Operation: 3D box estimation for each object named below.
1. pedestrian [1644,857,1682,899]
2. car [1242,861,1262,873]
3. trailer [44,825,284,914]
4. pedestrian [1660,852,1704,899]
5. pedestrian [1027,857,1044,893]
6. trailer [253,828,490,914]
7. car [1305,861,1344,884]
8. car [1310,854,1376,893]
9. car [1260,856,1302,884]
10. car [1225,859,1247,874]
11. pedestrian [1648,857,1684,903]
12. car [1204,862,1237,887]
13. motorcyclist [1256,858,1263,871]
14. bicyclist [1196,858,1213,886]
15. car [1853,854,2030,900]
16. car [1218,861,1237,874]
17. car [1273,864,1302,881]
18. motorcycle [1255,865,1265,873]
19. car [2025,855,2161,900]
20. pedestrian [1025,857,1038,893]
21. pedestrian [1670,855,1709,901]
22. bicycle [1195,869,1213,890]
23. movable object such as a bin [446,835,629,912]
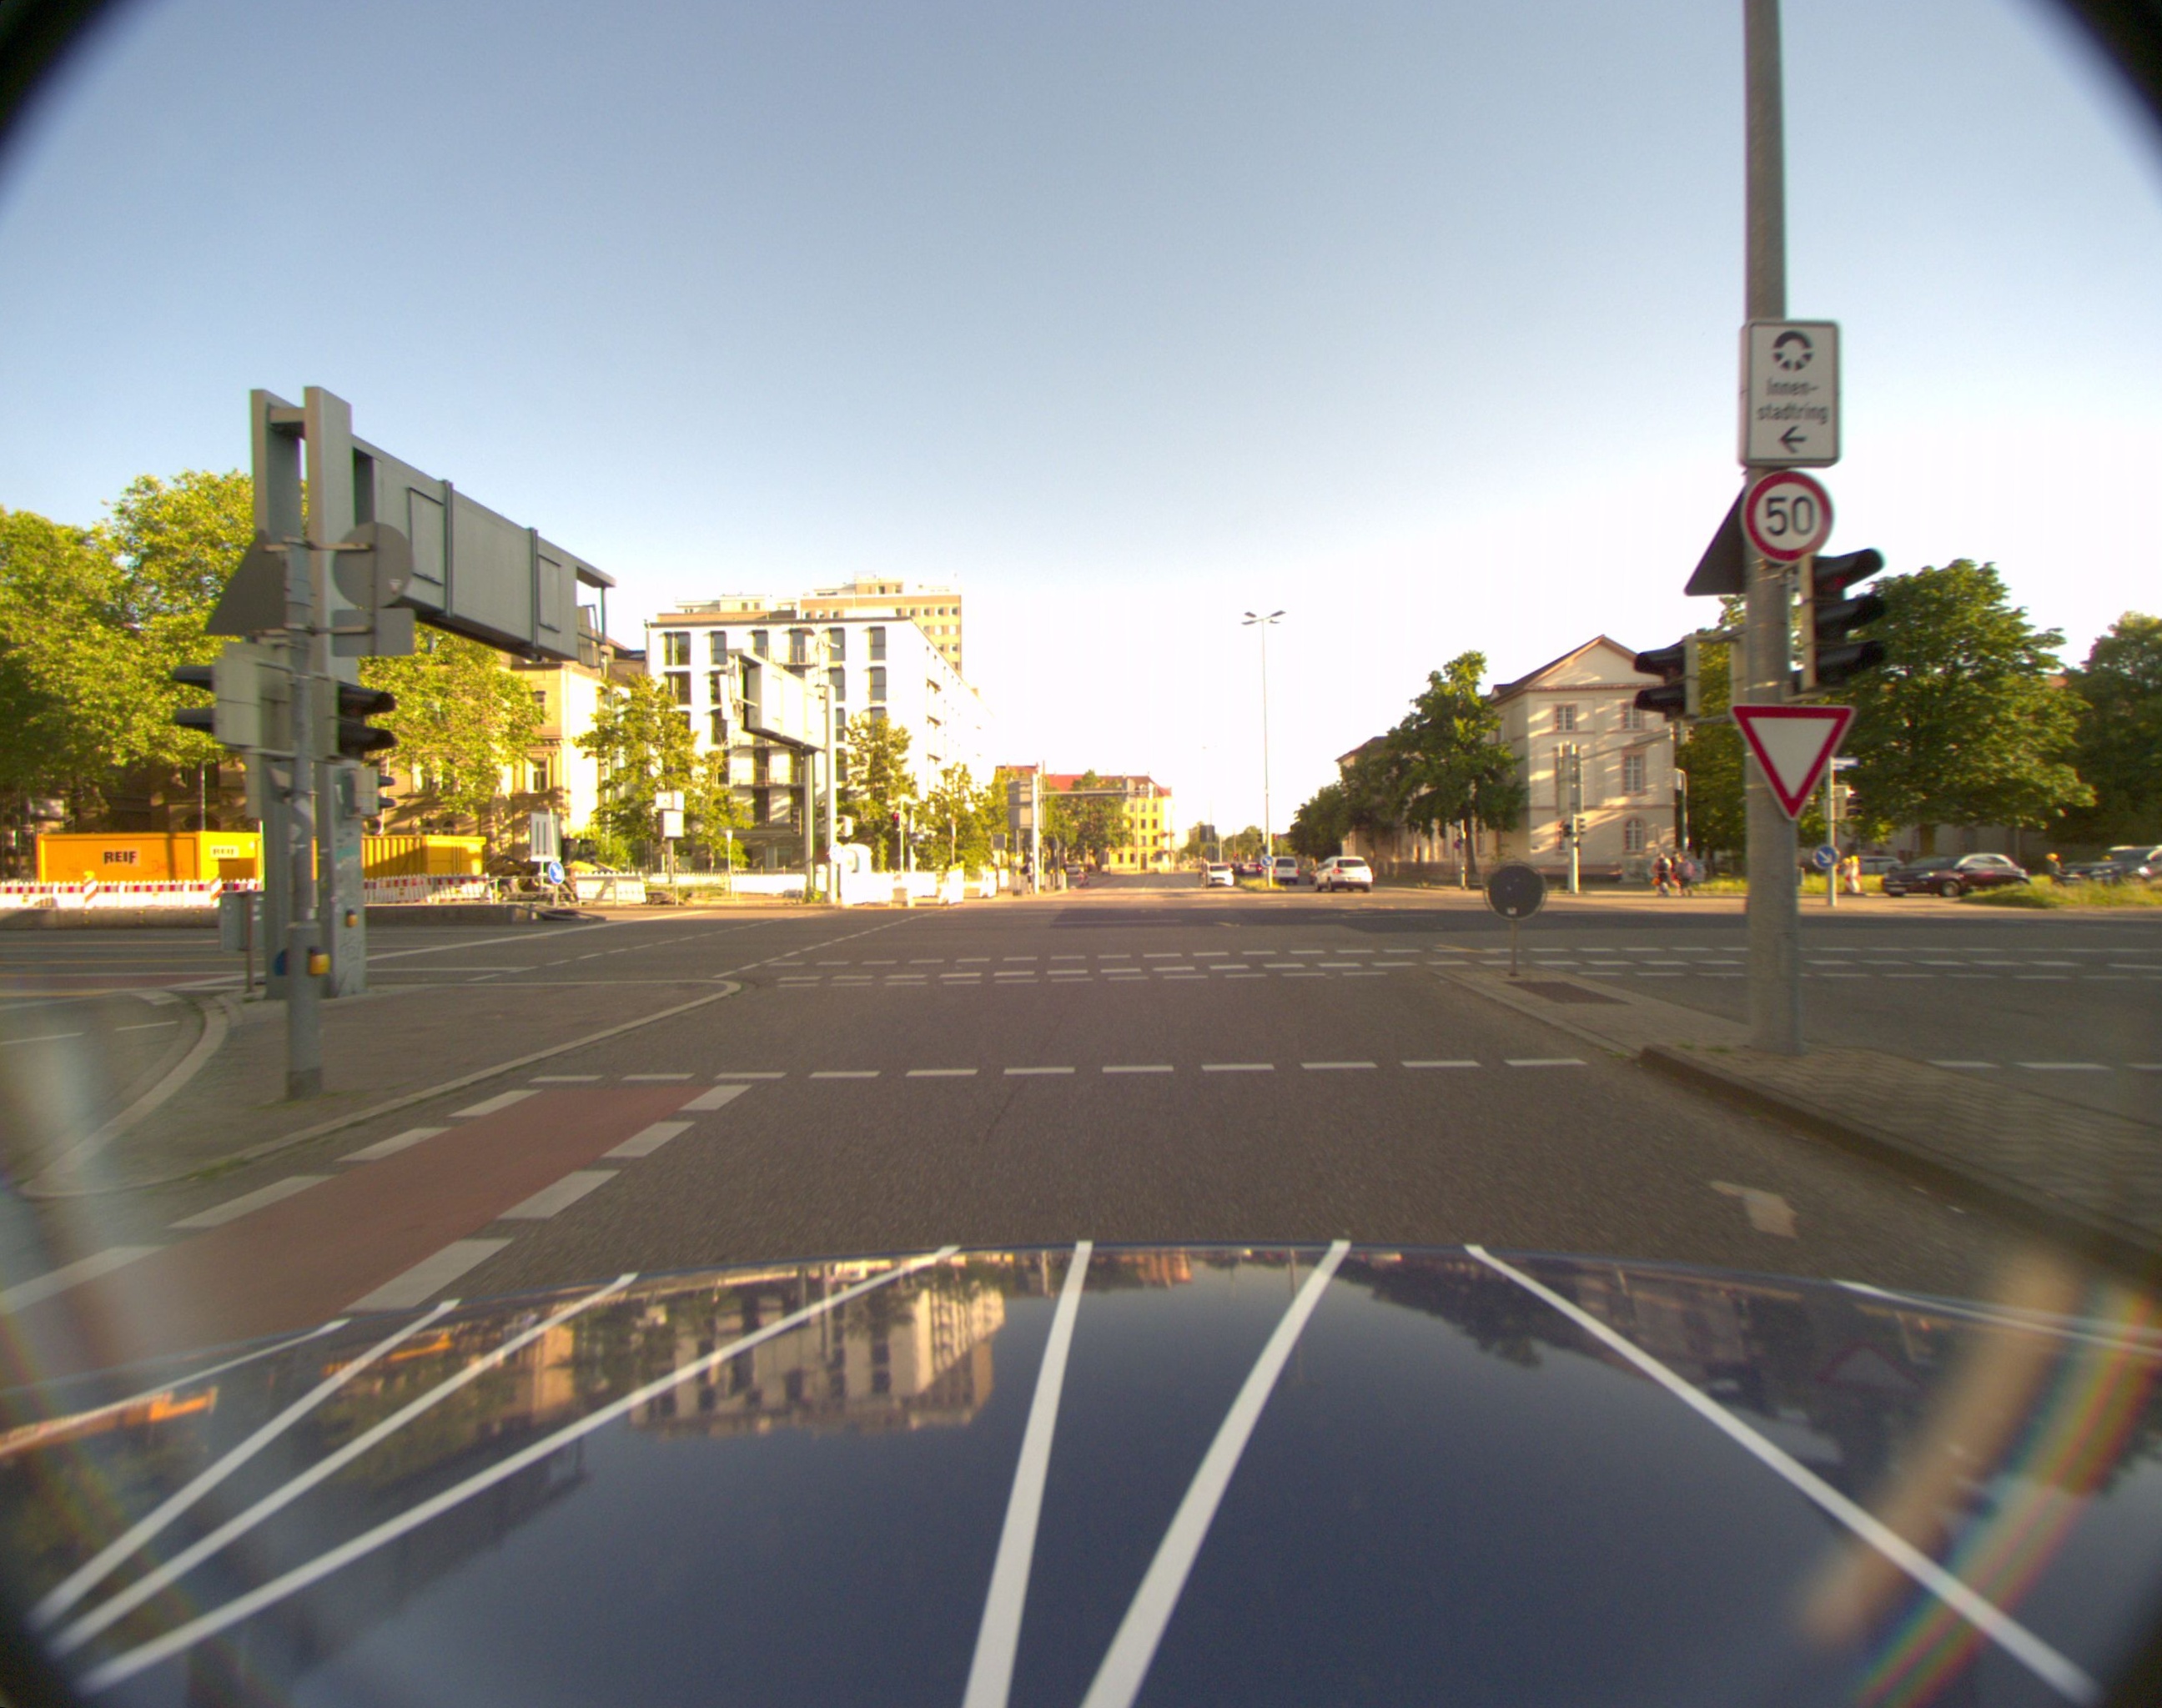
[{"bbox_3d":[23.622,0.959,30.868,0.678,1.698,1.084,-1,0,-2],"label":"pedestrian"},{"bbox_3d":[21.267,1.597,94.708,1.764,1.454,4.294,-1,-1,5],"label":"car"},{"bbox_3d":[-33.138,0.562,27.585,6.123,2.998,2.408,-1,0,4],"label":"trailer"},{"bbox_3d":[24.444,0.868,30.907,0.820,1.838,1.170,-1,0,-2],"label":"pedestrian"},{"bbox_3d":[-2.412,1.095,40.303,0.711,1.866,0.576,-1,0,-42],"label":"pedestrian"},{"bbox_3d":[-25.297,0.599,27.290,6.125,2.850,2.542,-1,0,0],"label":"trailer"},{"bbox_3d":[16.512,1.233,51.696,1.711,1.469,3.814,-1,0,5],"label":"car"},{"bbox_3d":[12.223,0.890,35.779,1.831,1.696,4.443,-1,0,4],"label":"car"},{"bbox_3d":[13.584,1.057,51.891,1.832,1.836,4.948,-1,0,4],"label":"car"},{"bbox_3d":[15.950,1.290,78.371,1.764,1.454,4.294,-1,-1,5],"label":"car"},{"bbox_3d":[21.499,0.953,27.931,0.621,1.641,0.890,-1,0,-2],"label":"pedestrian"},{"bbox_3d":[8.666,1.253,47.374,1.763,1.489,3.710,-1,0,6],"label":"car"},{"bbox_3d":[19.700,1.169,83.765,0.620,1.398,0.756,-1,0,2],"label":"motorcyclist"},{"bbox_3d":[6.998,1.016,43.114,0.838,1.594,1.024,-1,0,4],"label":"bicyclist"},{"bbox_3d":[28.919,0.748,25.645,3.643,1.437,2.000,-1,0,2],"label":"car"},{"bbox_3d":[17.718,1.599,91.852,1.764,1.454,4.294,-1,-1,5],"label":"car"},{"bbox_3d":[18.426,1.610,68.021,1.764,1.454,4.294,-1,-1,5],"label":"car"},{"bbox_3d":[19.698,1.663,83.784,0.640,0.874,2.162,-1,0,3],"label":"motorcycle"},{"bbox_3d":[35.187,0.776,25.826,3.643,1.437,2.000,-1,0,2],"label":"car"},{"bbox_3d":[-2.557,1.089,39.496,0.500,1.866,0.601,-1,0,-23],"label":"pedestrian"},{"bbox_3d":[22.471,0.879,28.076,0.678,1.641,0.883,-1,0,-2],"label":"pedestrian"},{"bbox_3d":[6.976,1.431,43.041,0.833,1.101,2.081,-1,0,5],"label":"bicycle"},{"bbox_3d":[-19.218,0.685,26.988,5.209,2.578,2.001,-1,0,5],"label":"movable object such as a bin"}]
